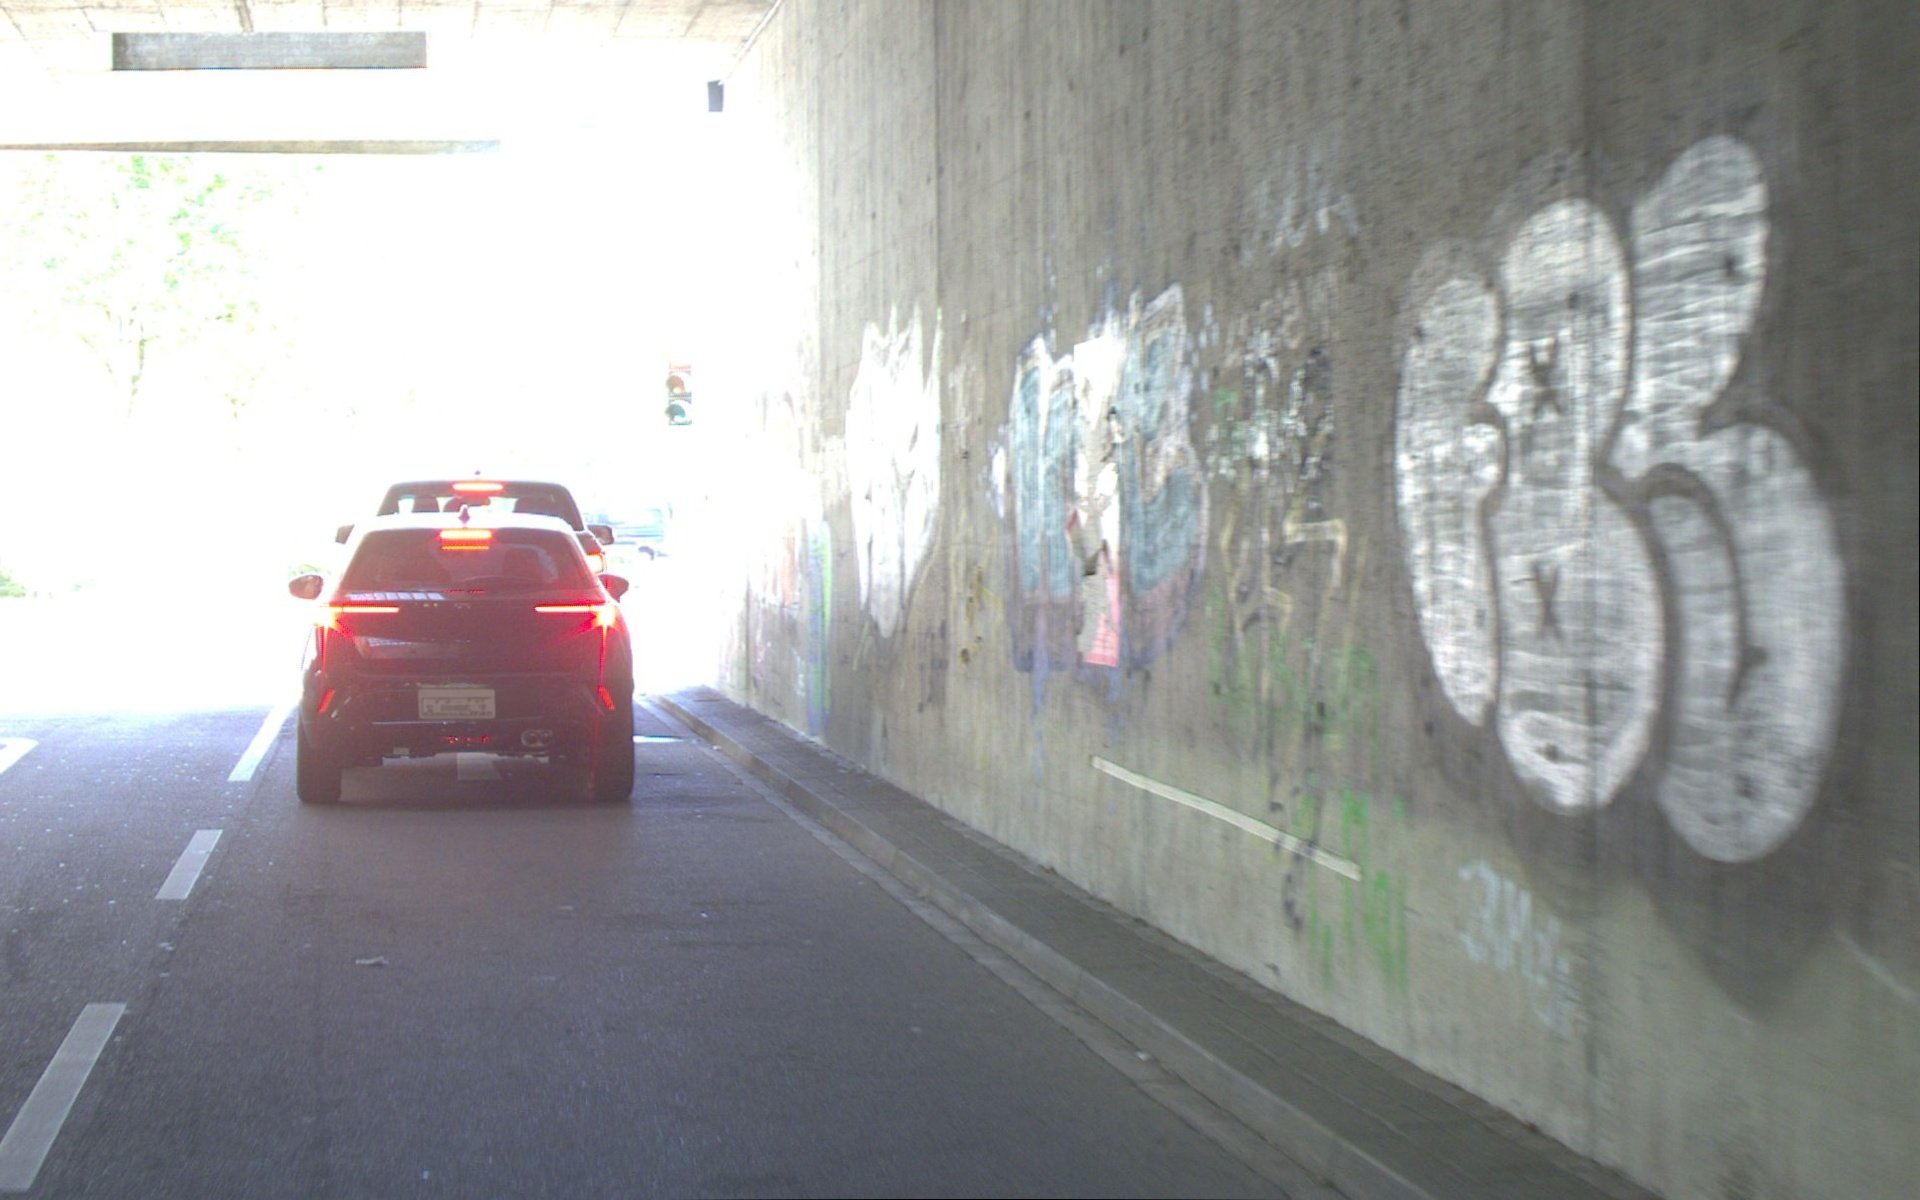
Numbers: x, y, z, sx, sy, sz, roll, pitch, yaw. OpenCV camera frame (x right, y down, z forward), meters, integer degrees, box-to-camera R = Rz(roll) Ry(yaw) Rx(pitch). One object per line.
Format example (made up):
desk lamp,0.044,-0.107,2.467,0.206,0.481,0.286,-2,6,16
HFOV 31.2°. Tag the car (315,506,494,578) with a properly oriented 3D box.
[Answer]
car,-13.794,-1.451,85.481,4.150,1.733,2.000,-1,2,-2

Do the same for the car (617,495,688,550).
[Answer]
car,-11.438,-2.907,128.237,1.994,2.006,4.268,-1,2,4

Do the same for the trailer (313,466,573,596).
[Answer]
trailer,-8.326,-1.129,55.632,3.986,2.006,2.000,-1,2,-4

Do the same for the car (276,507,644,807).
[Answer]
car,-2.827,0.225,19.392,1.826,1.496,4.212,0,2,-9

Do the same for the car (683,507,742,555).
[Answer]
car,-10.810,-3.029,150.385,1.994,2.006,4.268,-1,2,4

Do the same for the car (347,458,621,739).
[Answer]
car,-3.596,-0.077,25.613,1.814,1.876,4.587,-1,2,-9

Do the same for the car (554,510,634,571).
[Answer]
car,-12.507,-2.052,117.663,1.994,2.006,4.268,-1,2,4

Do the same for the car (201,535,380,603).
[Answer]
car,-15.741,-0.743,80.954,3.986,1.568,1.640,0,1,-5
